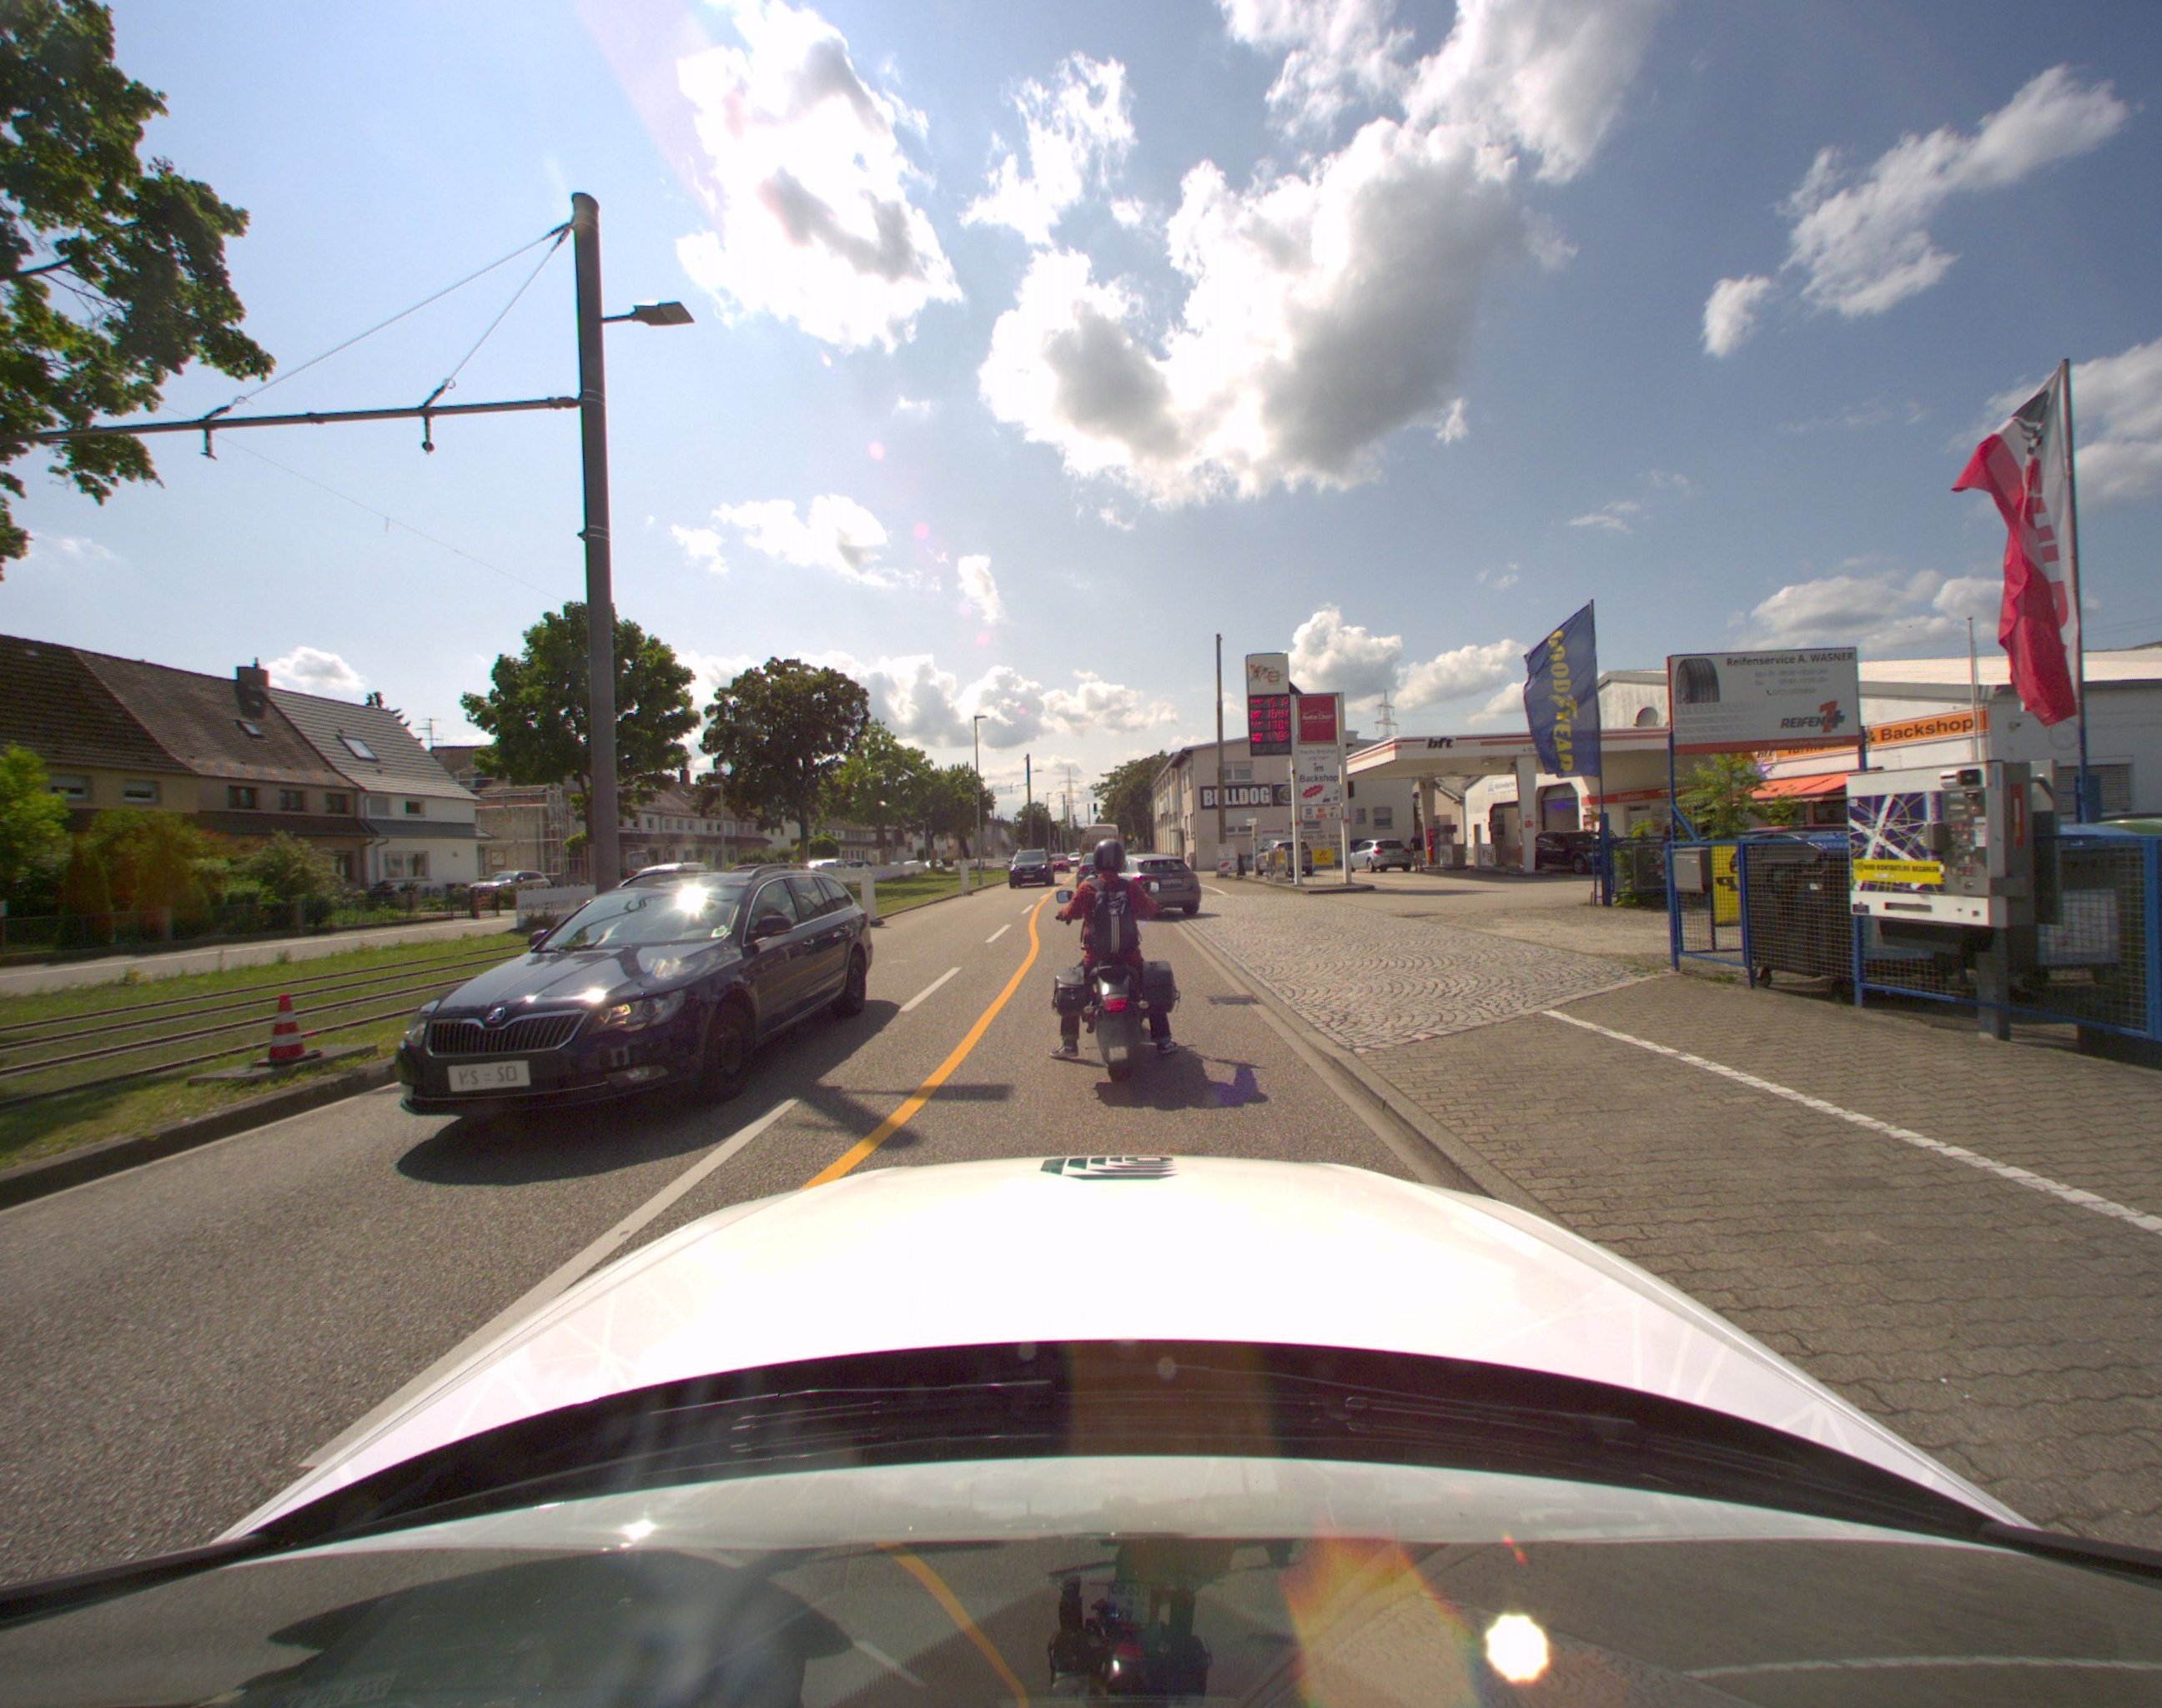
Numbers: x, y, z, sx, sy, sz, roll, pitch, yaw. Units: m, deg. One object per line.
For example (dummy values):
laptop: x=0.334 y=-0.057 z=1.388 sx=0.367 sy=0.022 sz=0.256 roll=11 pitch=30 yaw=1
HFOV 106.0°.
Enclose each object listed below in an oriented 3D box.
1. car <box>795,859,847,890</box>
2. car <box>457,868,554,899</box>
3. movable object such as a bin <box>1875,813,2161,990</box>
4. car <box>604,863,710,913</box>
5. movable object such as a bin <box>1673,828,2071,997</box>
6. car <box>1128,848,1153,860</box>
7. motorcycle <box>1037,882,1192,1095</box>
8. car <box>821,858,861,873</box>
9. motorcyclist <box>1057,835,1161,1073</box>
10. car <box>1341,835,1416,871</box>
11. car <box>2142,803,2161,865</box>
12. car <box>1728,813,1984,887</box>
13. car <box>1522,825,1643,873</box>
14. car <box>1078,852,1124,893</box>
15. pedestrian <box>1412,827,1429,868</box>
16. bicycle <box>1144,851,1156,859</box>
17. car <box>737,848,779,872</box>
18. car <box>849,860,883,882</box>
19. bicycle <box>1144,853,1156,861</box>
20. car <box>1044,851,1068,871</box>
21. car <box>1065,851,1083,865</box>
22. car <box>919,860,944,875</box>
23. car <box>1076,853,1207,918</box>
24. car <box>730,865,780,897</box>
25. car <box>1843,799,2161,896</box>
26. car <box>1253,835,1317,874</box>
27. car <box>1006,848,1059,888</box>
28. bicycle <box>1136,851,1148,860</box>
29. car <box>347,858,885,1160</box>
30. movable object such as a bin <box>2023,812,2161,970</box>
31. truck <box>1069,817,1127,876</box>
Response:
car: x=-15.147 y=1.190 z=47.675 sx=1.616 sy=1.651 sz=3.900 roll=-3 pitch=-1 yaw=2
car: x=-27.371 y=1.382 z=38.899 sx=1.528 sy=1.275 sz=4.122 roll=-3 pitch=-1 yaw=2
movable object such as a bin: x=8.828 y=0.380 z=7.386 sx=1.526 sy=1.410 sz=1.765 roll=0 pitch=-1 yaw=1
car: x=-15.461 y=1.183 z=29.961 sx=1.647 sy=1.625 sz=4.002 roll=-3 pitch=-1 yaw=2
movable object such as a bin: x=6.970 y=0.475 z=7.391 sx=1.956 sy=1.347 sz=1.708 roll=0 pitch=-1 yaw=0
car: x=9.987 y=-0.041 z=136.477 sx=4.022 sy=1.926 sz=1.781 roll=0 pitch=-1 yaw=-43
motorcycle: x=0.246 y=0.866 z=6.217 sx=0.939 sy=1.200 sz=2.473 roll=0 pitch=0 yaw=2
car: x=-27.061 y=1.280 z=91.853 sx=3.973 sy=1.509 sz=1.726 roll=-3 pitch=0 yaw=0
motorcyclist: x=0.201 y=0.678 z=5.860 sx=0.695 sy=1.604 sz=0.692 roll=0 pitch=-1 yaw=1
car: x=13.538 y=-0.011 z=37.308 sx=1.687 sy=1.471 sz=4.421 roll=-3 pitch=-1 yaw=-1
car: x=26.271 y=-0.546 z=17.957 sx=3.569 sy=1.424 sz=1.529 roll=-3 pitch=-1 yaw=2
car: x=17.804 y=-0.080 z=18.877 sx=4.118 sy=1.424 sz=1.772 roll=-3 pitch=-1 yaw=2
car: x=17.933 y=-0.222 z=29.370 sx=1.676 sy=1.519 sz=4.495 roll=-3 pitch=1 yaw=2
car: x=0.811 y=0.653 z=31.293 sx=1.637 sy=1.444 sz=3.751 roll=0 pitch=0 yaw=3
pedestrian: x=14.724 y=-0.283 z=35.327 sx=0.495 sy=1.776 sz=0.577 roll=0 pitch=-1 yaw=-1
bicycle: x=9.919 y=0.153 z=117.160 sx=1.699 sy=1.172 sz=0.439 roll=0 pitch=-1 yaw=6
car: x=-27.980 y=0.548 z=70.731 sx=1.986 sy=2.014 sz=4.001 roll=0 pitch=-1 yaw=1
car: x=-14.705 y=1.169 z=55.788 sx=1.345 sy=1.377 sz=3.115 roll=-3 pitch=-1 yaw=2
bicycle: x=9.846 y=0.440 z=116.648 sx=1.699 sy=1.172 sz=0.439 roll=0 pitch=-1 yaw=6
car: x=-1.899 y=0.567 z=62.835 sx=1.572 sy=1.469 sz=3.721 roll=0 pitch=-1 yaw=2
car: x=-0.710 y=0.486 z=90.261 sx=1.815 sy=1.445 sz=4.484 roll=-3 pitch=-1 yaw=1
car: x=-13.836 y=1.266 z=75.672 sx=1.516 sy=1.354 sz=3.622 roll=0 pitch=-1 yaw=2
car: x=1.347 y=0.687 z=19.799 sx=1.736 sy=1.403 sz=4.060 roll=0 pitch=0 yaw=-19
car: x=-15.073 y=1.215 z=37.737 sx=1.067 sy=1.348 sz=2.452 roll=-3 pitch=-1 yaw=5
car: x=15.126 y=-0.095 z=13.057 sx=4.029 sy=1.408 sz=1.651 roll=-1 pitch=0 yaw=8
car: x=9.138 y=0.031 z=36.882 sx=1.938 sy=1.625 sz=4.619 roll=-1 pitch=0 yaw=3
car: x=-2.182 y=0.625 z=37.809 sx=1.788 sy=1.690 sz=4.226 roll=-3 pitch=-1 yaw=4
bicycle: x=8.760 y=0.215 z=117.762 sx=1.699 sy=1.172 sz=0.439 roll=0 pitch=-1 yaw=6
car: x=-3.029 y=0.836 z=6.625 sx=1.705 sy=1.486 sz=4.525 roll=-3 pitch=0 yaw=0
movable object such as a bin: x=10.370 y=0.326 z=7.419 sx=1.526 sy=1.410 sz=1.765 roll=0 pitch=-1 yaw=1
truck: x=1.139 y=-0.373 z=48.348 sx=2.954 sy=3.173 sz=7.773 roll=0 pitch=-1 yaw=4
